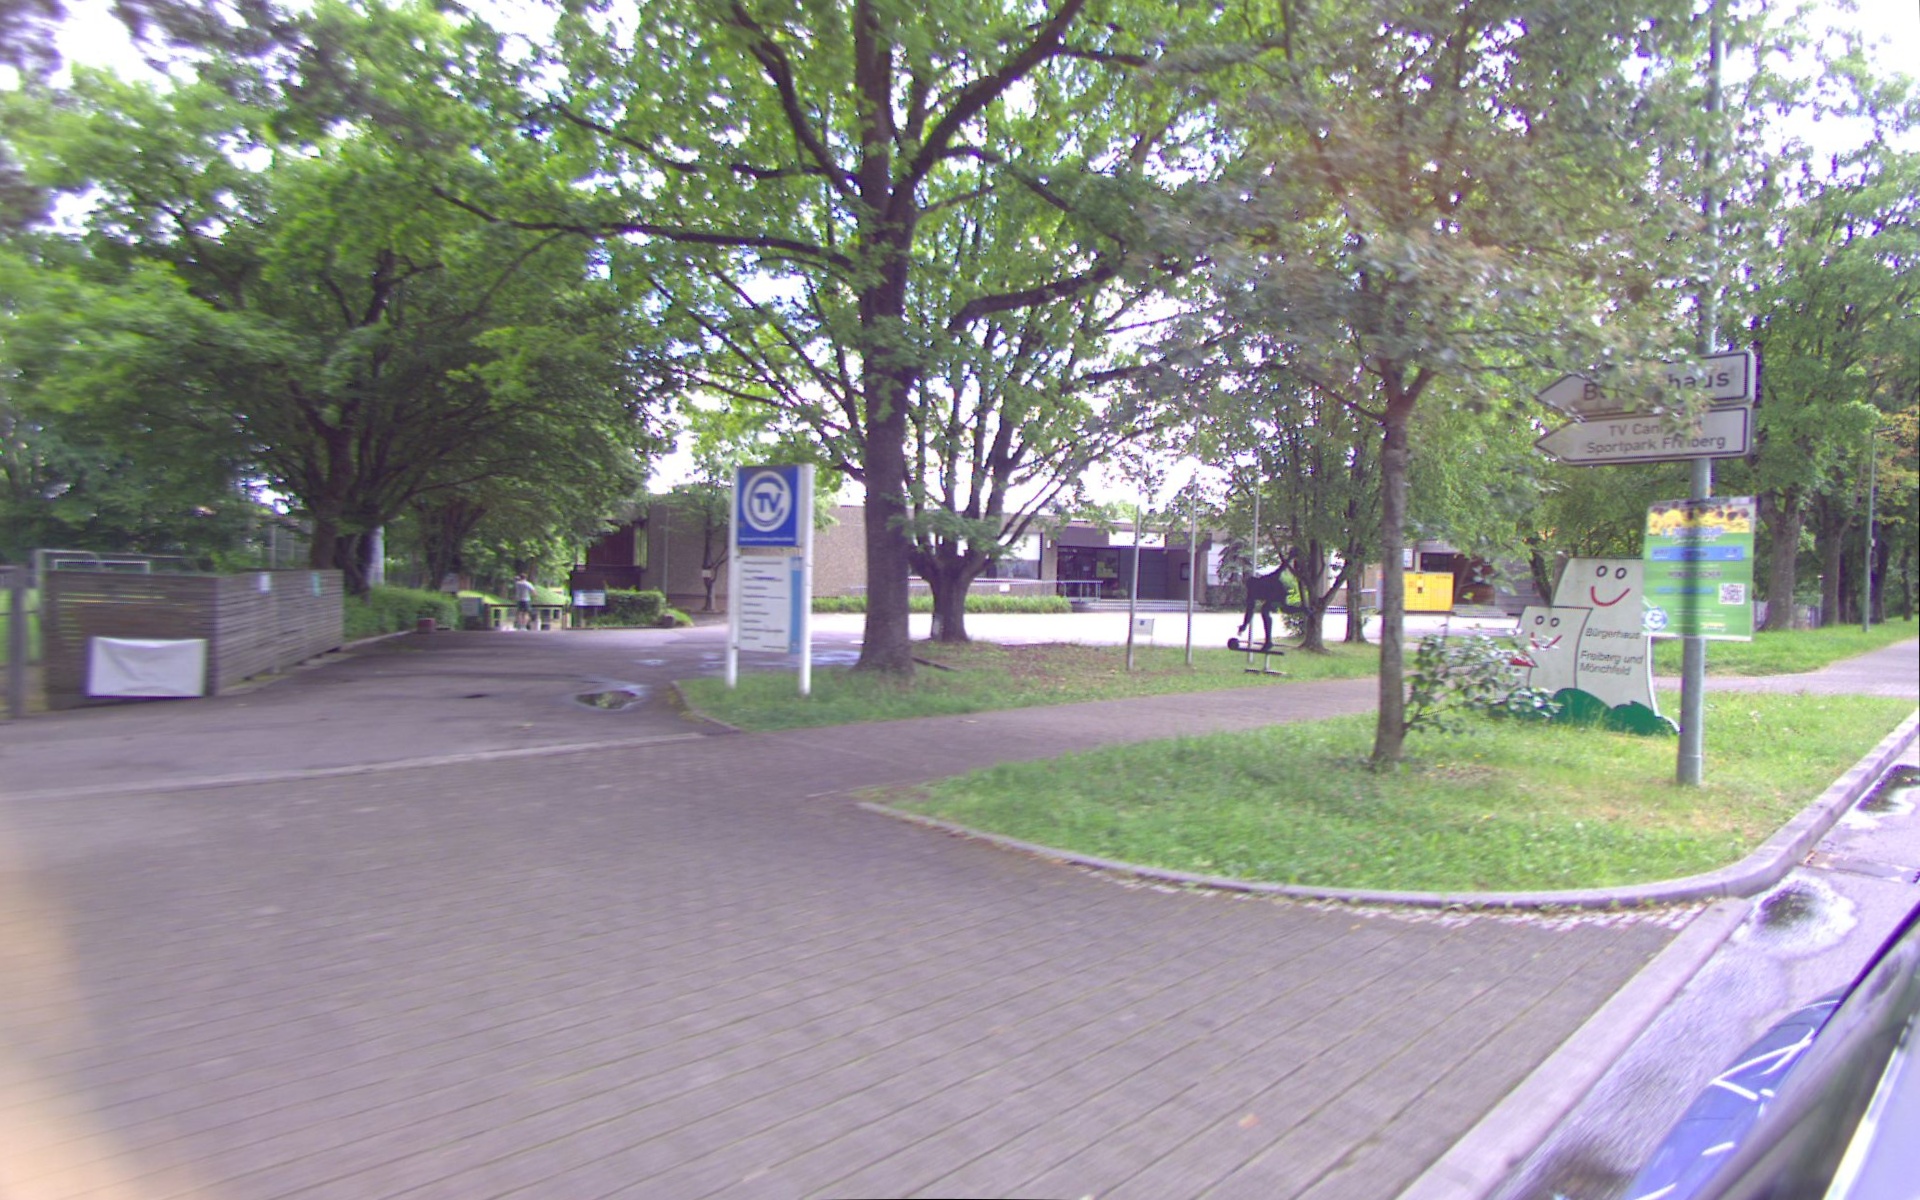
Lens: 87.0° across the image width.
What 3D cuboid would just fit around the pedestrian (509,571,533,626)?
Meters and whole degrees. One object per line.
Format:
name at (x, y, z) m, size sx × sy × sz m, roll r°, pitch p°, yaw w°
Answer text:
pedestrian at (-13.685, -0.054, 31.552) m, size 0.671 × 1.672 × 0.502 m, roll 1°, pitch 0°, yaw -25°
